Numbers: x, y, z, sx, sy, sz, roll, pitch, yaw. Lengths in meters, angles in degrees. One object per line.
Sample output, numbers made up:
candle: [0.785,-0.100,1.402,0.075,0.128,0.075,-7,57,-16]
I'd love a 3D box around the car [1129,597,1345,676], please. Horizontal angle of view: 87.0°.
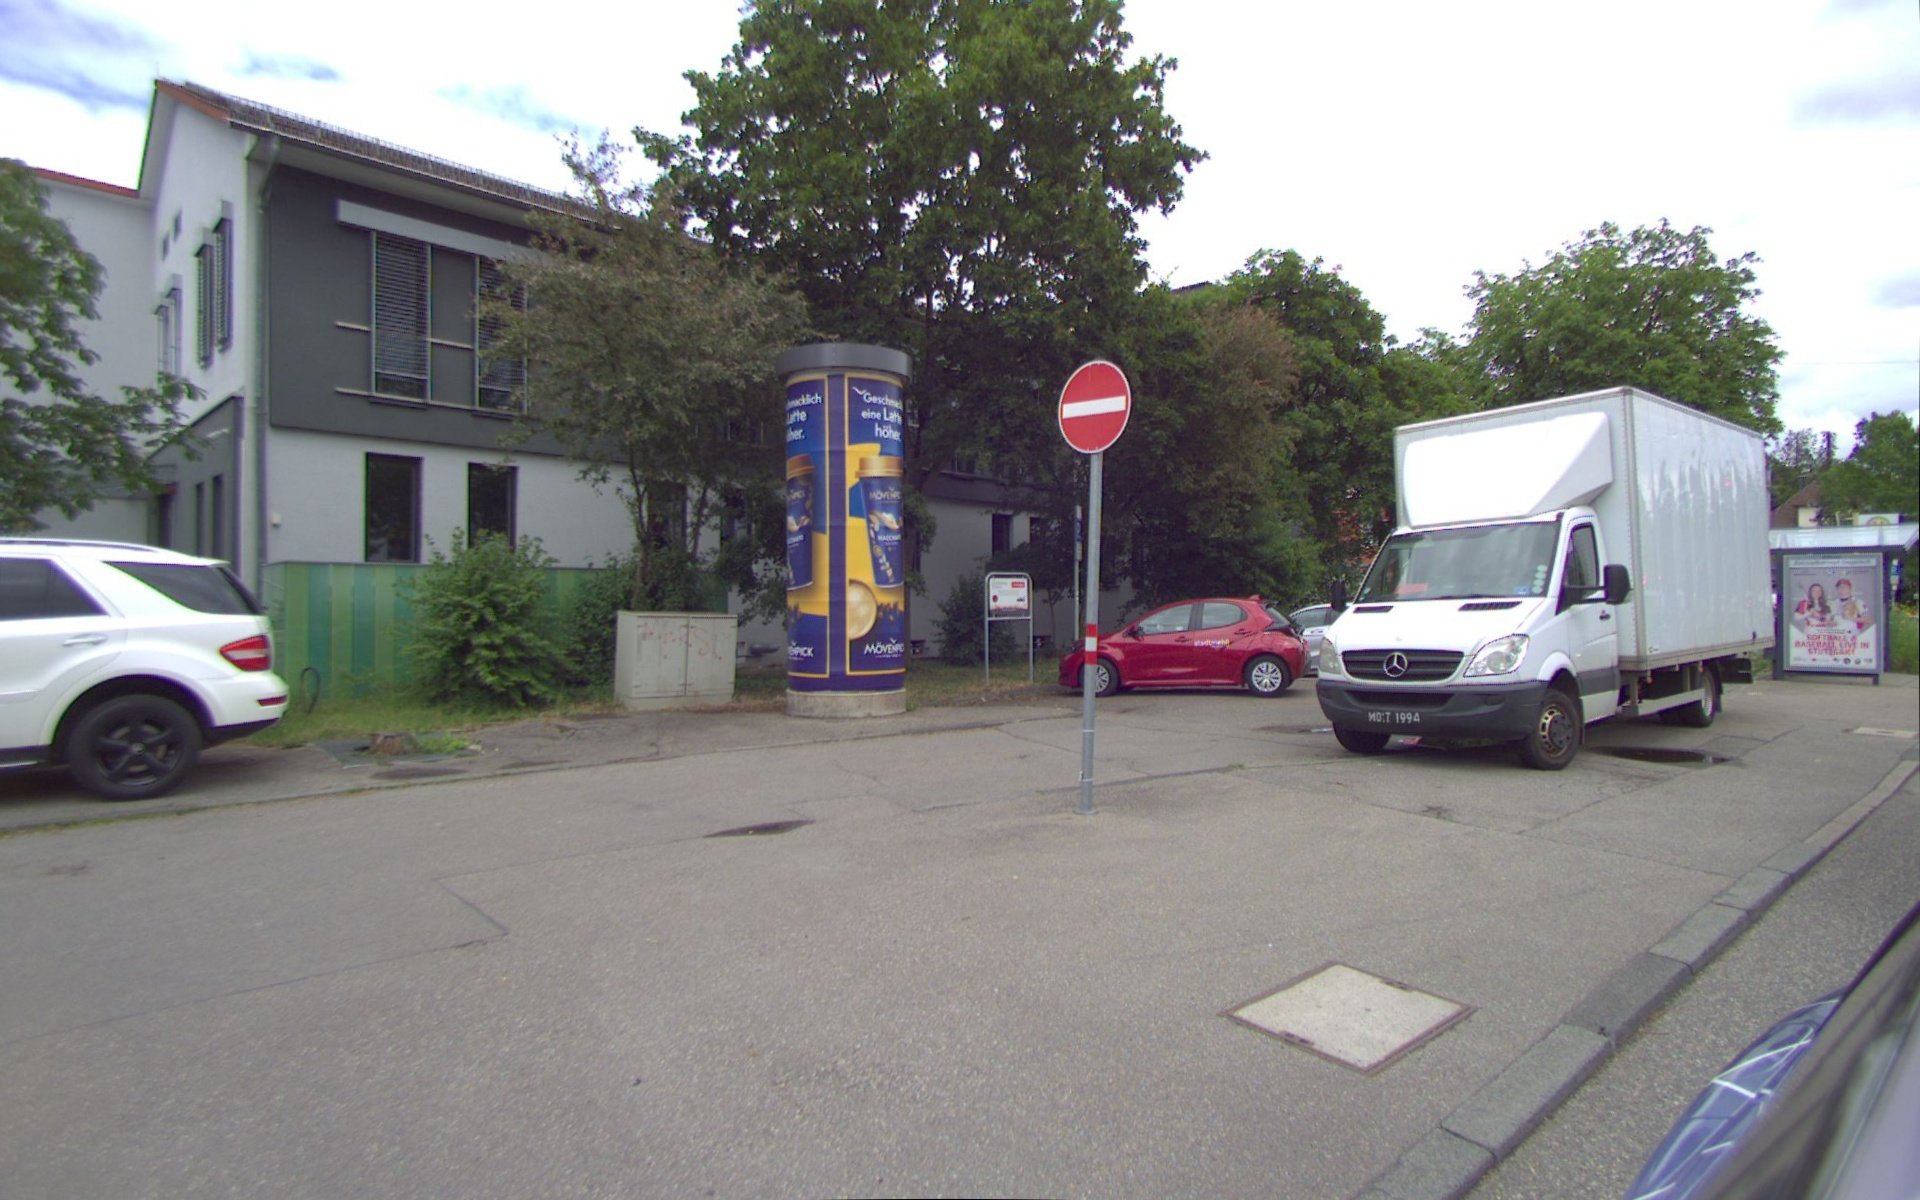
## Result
car: [5.447,0.717,20.072,3.946,1.428,1.516,-2,-1,18]

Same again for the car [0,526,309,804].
car: [-7.221,0.415,6.752,4.640,1.780,1.855,0,0,-41]

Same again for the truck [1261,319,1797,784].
truck: [6.576,-0.418,10.996,7.638,3.469,2.540,-1,0,-40]

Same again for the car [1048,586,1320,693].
car: [3.481,0.618,15.760,3.856,1.502,1.669,-2,-1,25]
